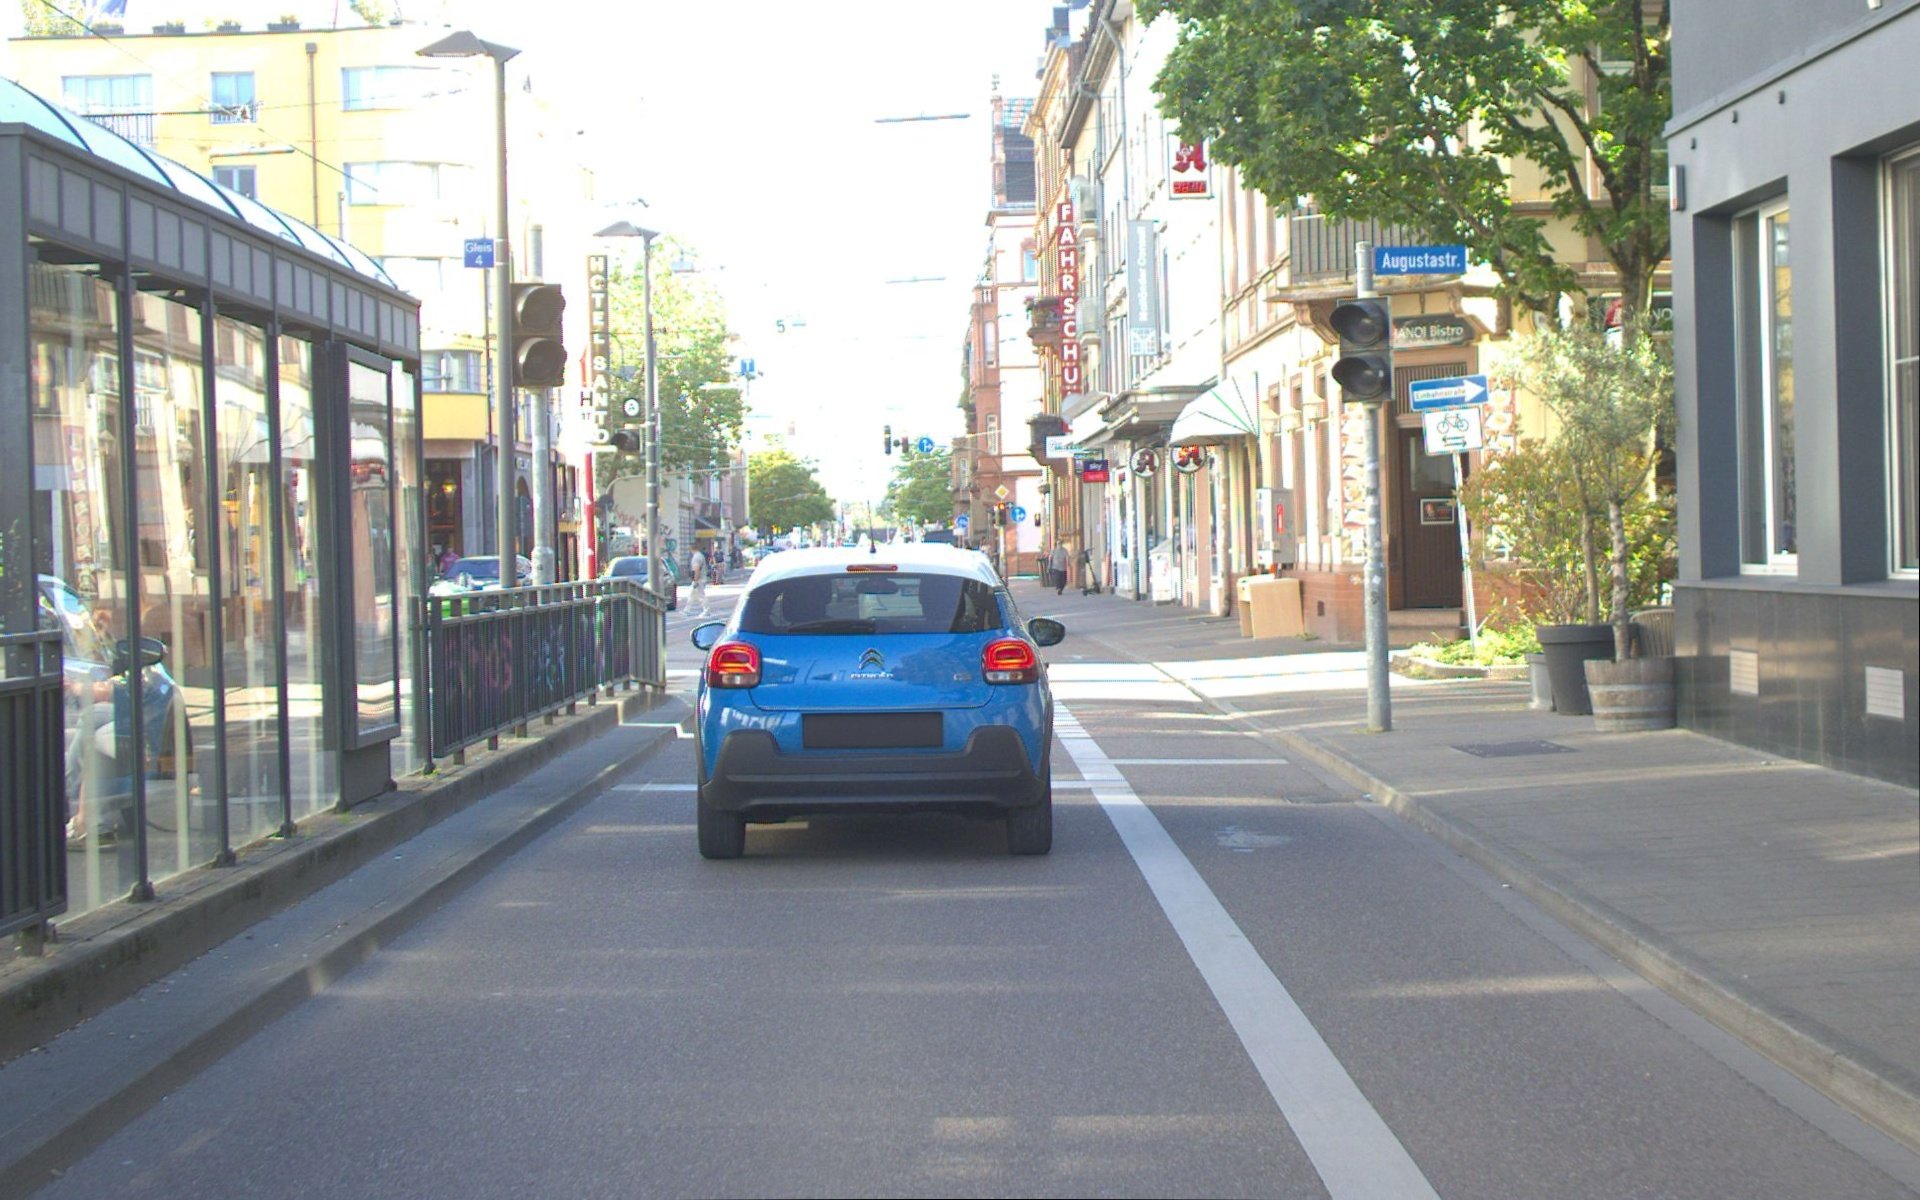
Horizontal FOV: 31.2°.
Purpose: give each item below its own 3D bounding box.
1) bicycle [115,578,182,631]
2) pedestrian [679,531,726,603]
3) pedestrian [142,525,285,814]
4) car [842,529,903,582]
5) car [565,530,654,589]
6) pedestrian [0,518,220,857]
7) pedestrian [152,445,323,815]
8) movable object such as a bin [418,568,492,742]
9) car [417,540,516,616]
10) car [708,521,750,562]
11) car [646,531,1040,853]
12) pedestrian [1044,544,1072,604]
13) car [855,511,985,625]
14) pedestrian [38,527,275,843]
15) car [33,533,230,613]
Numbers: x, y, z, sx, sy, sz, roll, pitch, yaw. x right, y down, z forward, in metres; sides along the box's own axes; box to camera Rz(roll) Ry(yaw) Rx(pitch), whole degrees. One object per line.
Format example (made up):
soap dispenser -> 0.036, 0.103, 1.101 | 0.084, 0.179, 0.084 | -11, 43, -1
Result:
bicycle -> -16.516, 0.075, 70.025 | 0.679, 0.999, 2.686 | -1, 1, 0
pedestrian -> -6.028, -0.775, 80.495 | 0.838, 1.648, 0.697 | -2, 1, -29
pedestrian -> -4.097, 0.370, 18.898 | 0.621, 1.553, 0.568 | -1, 1, 0
car -> -2.915, -1.476, 115.586 | 1.993, 1.737, 4.000 | 0, 0, -1
car -> -9.638, -1.128, 94.706 | 1.951, 1.481, 4.000 | -3, 1, 0
pedestrian -> -3.329, 0.326, 13.354 | 0.711, 1.268, 0.657 | -2, 1, 2
pedestrian -> -3.526, 0.135, 16.763 | 0.563, 1.745, 0.719 | -2, 1, -29
movable object such as a bin -> -2.983, 0.323, 20.310 | 0.346, 1.004, 0.404 | -1, 1, 1
car -> -11.356, -0.539, 79.389 | 1.752, 1.609, 4.828 | -3, 1, -3
car -> -11.501, -2.912, 171.319 | 1.993, 2.007, 4.000 | 0, 0, -2
car -> -0.546, 0.379, 17.368 | 1.781, 1.446, 3.654 | 0, 1, -1
pedestrian -> 2.714, -0.718, 95.353 | 0.693, 1.645, 0.680 | -1, 1, -1
car -> -0.634, -0.496, 54.782 | 1.993, 1.737, 4.000 | 0, 0, -1
pedestrian -> -3.355, 0.342, 14.407 | 0.764, 1.268, 0.719 | -2, 1, 2
car -> -18.511, -0.615, 76.946 | 3.986, 1.669, 1.958 | -1, 1, -4
